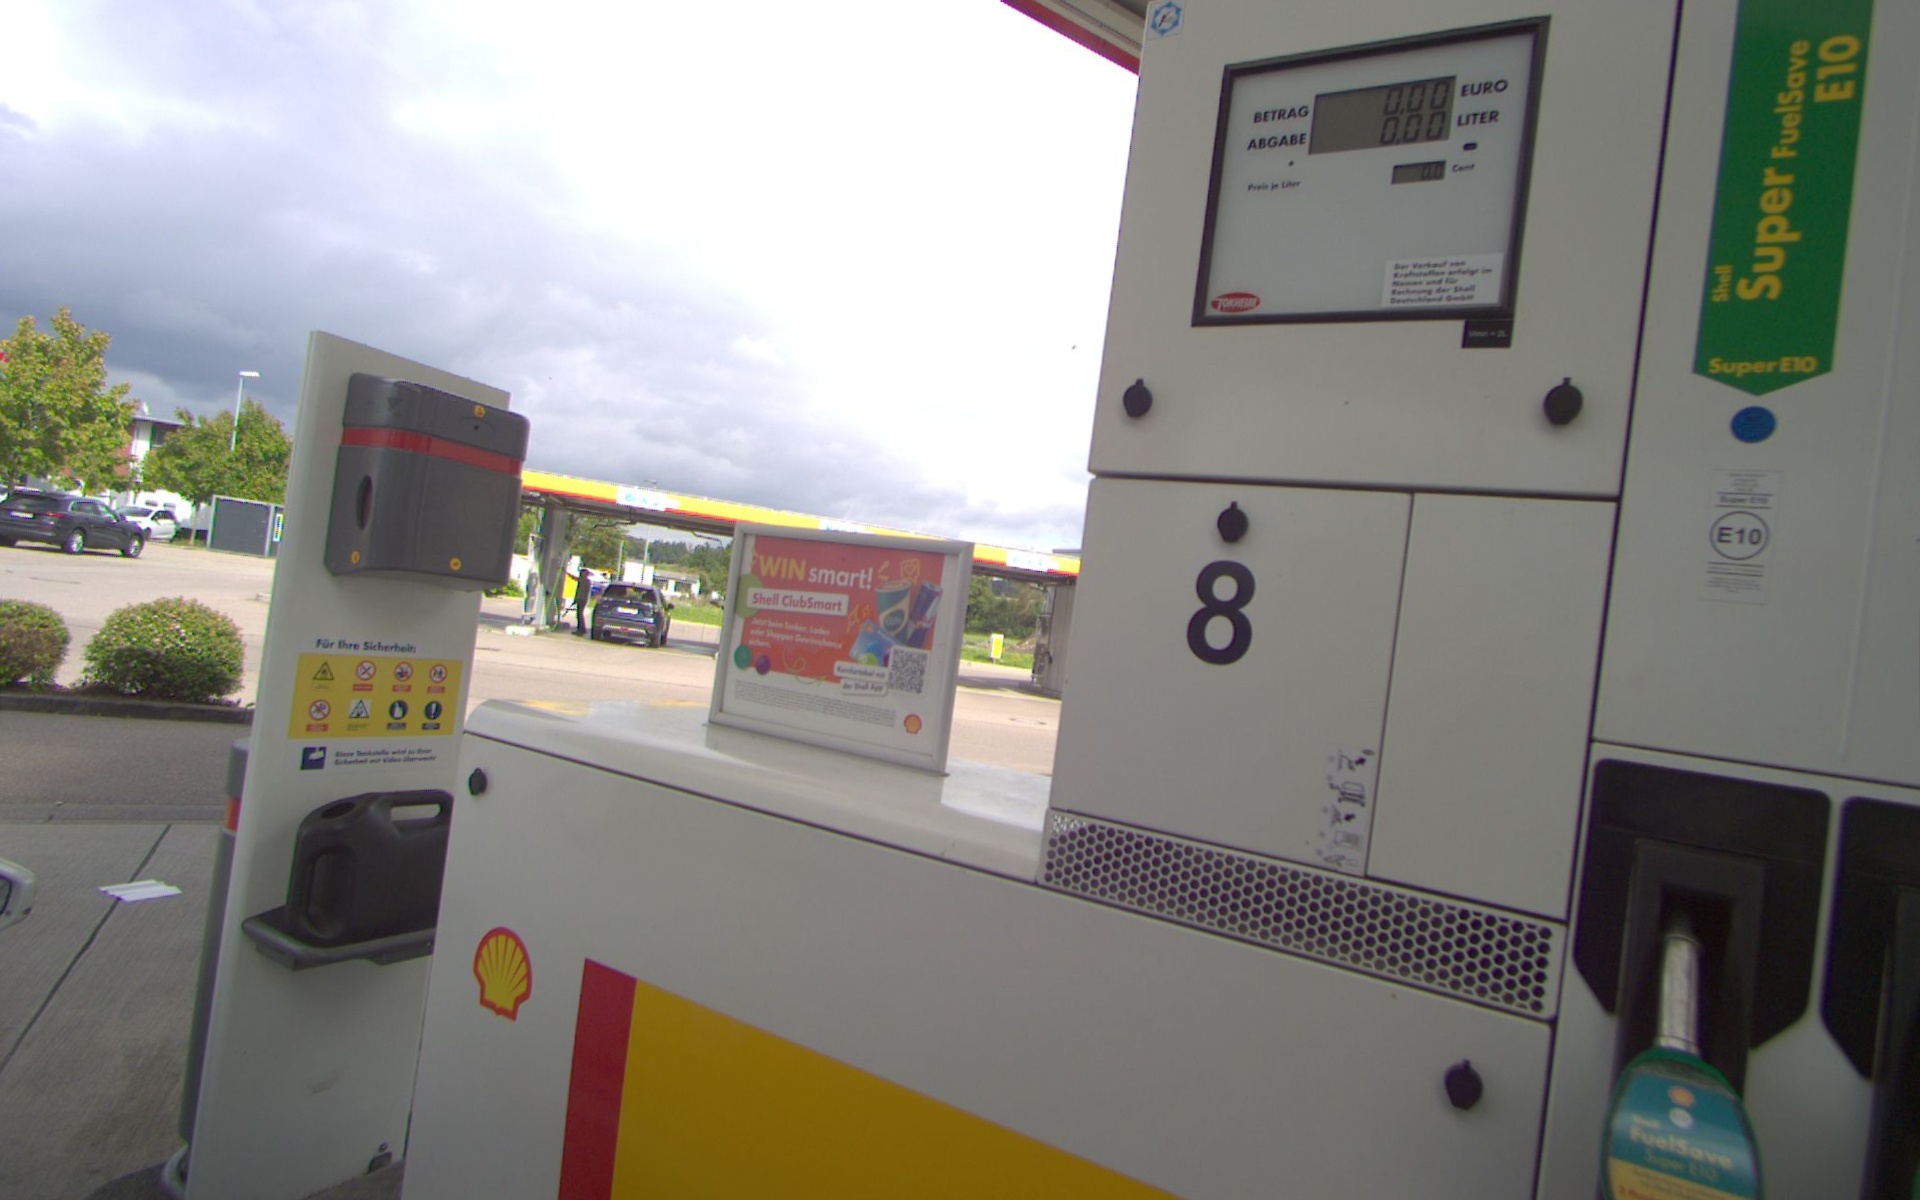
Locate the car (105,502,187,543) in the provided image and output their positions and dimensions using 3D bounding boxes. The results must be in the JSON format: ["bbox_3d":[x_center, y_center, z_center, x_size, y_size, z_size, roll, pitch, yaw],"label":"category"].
[{"bbox_3d":[-35.260,-3.339,43.664,1.346,1.322,3.098,8,-2,-12],"label":"car"}]

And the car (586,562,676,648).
[{"bbox_3d":[-8.700,0.153,26.878,1.696,1.919,3.800,8,-2,-12],"label":"car"}]

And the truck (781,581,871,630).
[{"bbox_3d":[-13.013,0.561,97.523,7.978,3.575,2.687,8,-2,-19],"label":"truck"}]

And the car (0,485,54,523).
[{"bbox_3d":[-57.359,-5.905,60.261,2.149,1.854,4.870,8,-2,-11],"label":"car"}]

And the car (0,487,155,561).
[{"bbox_3d":[-25.931,-2.166,29.278,1.855,1.566,4.498,8,-2,-10],"label":"car"}]

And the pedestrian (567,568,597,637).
[{"bbox_3d":[-10.044,0.061,26.735,0.550,1.742,0.526,7,-1,-20],"label":"pedestrian"}]
